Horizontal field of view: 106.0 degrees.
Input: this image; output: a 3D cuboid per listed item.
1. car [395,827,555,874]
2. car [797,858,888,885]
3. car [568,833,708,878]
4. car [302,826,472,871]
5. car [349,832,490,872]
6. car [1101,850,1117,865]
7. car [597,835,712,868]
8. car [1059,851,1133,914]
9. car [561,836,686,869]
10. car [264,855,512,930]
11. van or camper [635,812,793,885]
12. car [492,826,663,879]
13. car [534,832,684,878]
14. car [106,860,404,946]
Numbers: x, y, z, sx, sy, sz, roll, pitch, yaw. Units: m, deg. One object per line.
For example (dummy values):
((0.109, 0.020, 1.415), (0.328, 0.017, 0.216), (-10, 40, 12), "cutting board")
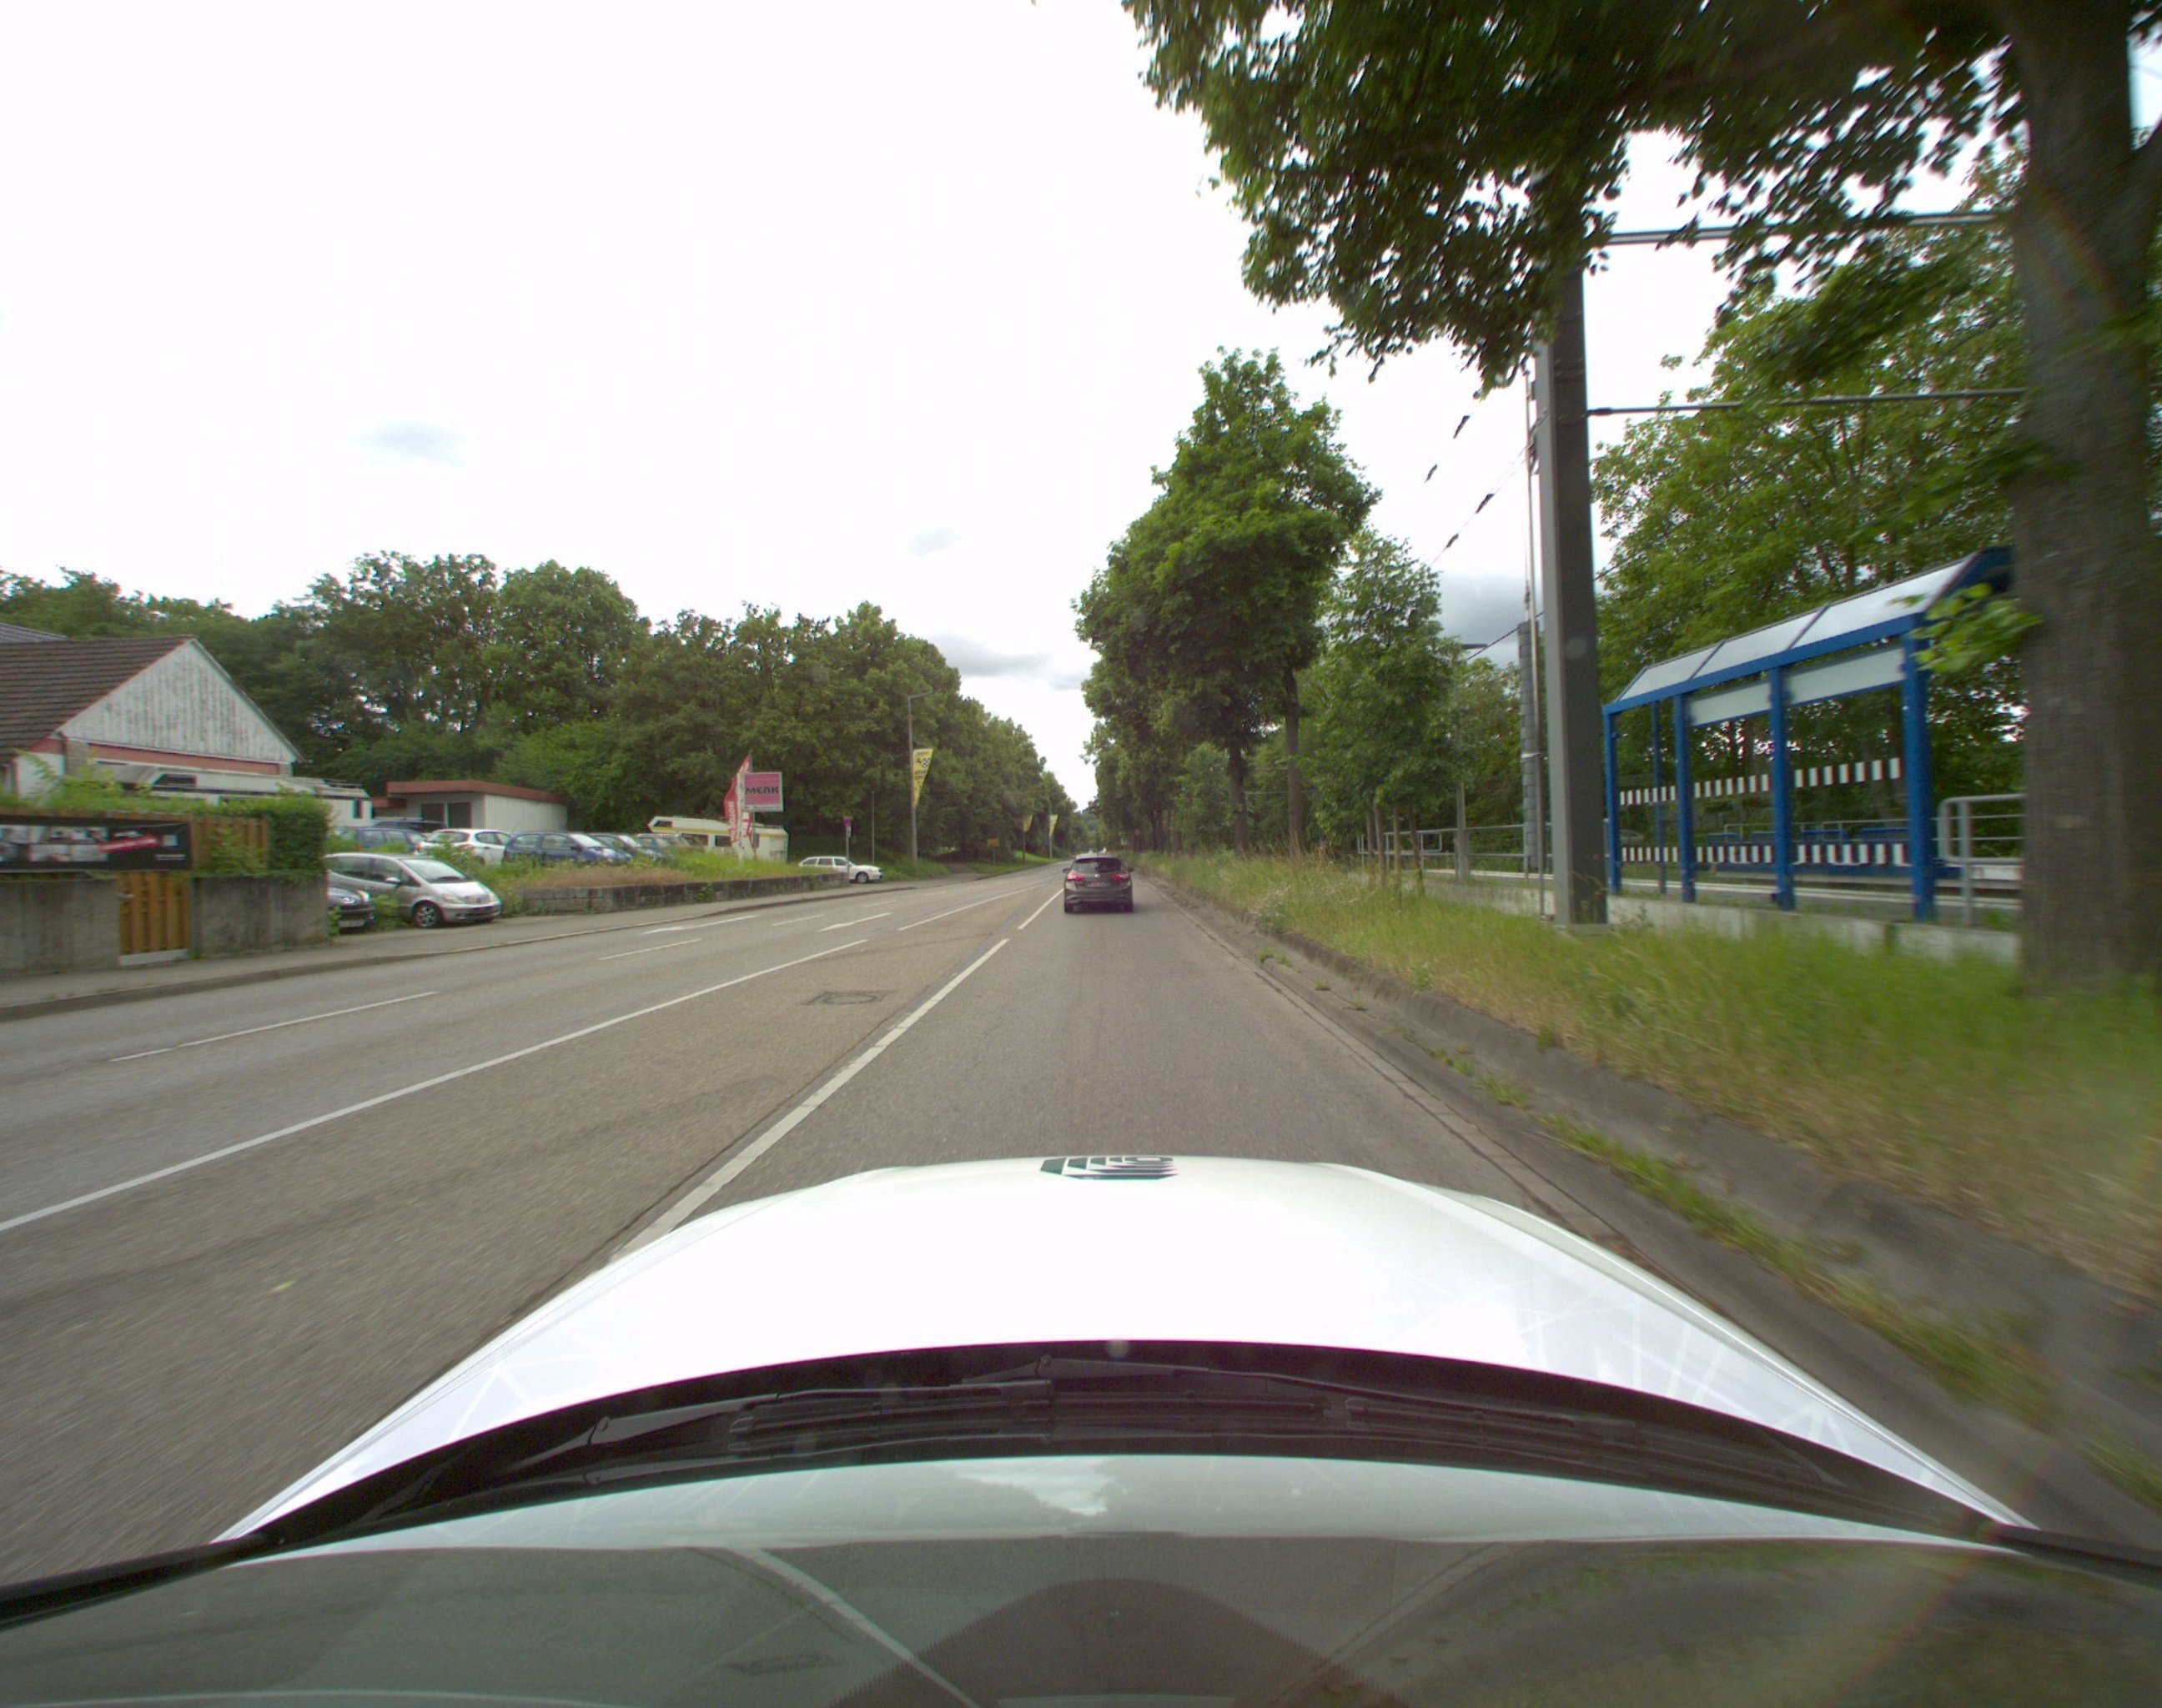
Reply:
((-19.246, -0.102, 26.146), (1.842, 1.342, 4.400), (-1, 0, -1), "car")
((-12.954, 0.927, 44.401), (4.362, 1.441, 1.960), (0, 0, -1), "car")
((-15.219, 0.075, 28.082), (3.967, 1.492, 1.650), (0, -1, 6), "car")
((-21.937, -0.121, 26.001), (1.662, 1.318, 4.288), (0, -1, 1), "car")
((-26.665, -0.042, 33.075), (1.986, 1.529, 4.403), (0, -1, 2), "car")
((2.827, 0.362, 82.514), (1.497, 1.528, 3.674), (0, 0, 3), "car")
((-18.532, -0.086, 35.495), (3.967, 1.370, 2.003), (0, -1, 6), "car")
((0.496, 0.714, 22.164), (1.829, 1.528, 3.932), (-1, 0, 3), "car")
((-18.346, -0.041, 32.782), (3.914, 1.268, 1.887), (0, -1, 3), "car")
((-15.750, 0.840, 18.676), (3.971, 1.617, 2.001), (0, -1, 2), "car")
((-19.854, -0.305, 44.339), (7.115, 3.371, 2.797), (4, 0, 1), "van or camper")
((-14.920, -0.030, 24.247), (3.967, 1.497, 1.862), (0, -1, 6), "car")
((-15.087, 0.042, 26.121), (3.967, 1.411, 1.536), (0, -1, 6), "car")
((-16.453, 0.930, 16.387), (3.971, 1.604, 2.001), (0, -1, 2), "car")
